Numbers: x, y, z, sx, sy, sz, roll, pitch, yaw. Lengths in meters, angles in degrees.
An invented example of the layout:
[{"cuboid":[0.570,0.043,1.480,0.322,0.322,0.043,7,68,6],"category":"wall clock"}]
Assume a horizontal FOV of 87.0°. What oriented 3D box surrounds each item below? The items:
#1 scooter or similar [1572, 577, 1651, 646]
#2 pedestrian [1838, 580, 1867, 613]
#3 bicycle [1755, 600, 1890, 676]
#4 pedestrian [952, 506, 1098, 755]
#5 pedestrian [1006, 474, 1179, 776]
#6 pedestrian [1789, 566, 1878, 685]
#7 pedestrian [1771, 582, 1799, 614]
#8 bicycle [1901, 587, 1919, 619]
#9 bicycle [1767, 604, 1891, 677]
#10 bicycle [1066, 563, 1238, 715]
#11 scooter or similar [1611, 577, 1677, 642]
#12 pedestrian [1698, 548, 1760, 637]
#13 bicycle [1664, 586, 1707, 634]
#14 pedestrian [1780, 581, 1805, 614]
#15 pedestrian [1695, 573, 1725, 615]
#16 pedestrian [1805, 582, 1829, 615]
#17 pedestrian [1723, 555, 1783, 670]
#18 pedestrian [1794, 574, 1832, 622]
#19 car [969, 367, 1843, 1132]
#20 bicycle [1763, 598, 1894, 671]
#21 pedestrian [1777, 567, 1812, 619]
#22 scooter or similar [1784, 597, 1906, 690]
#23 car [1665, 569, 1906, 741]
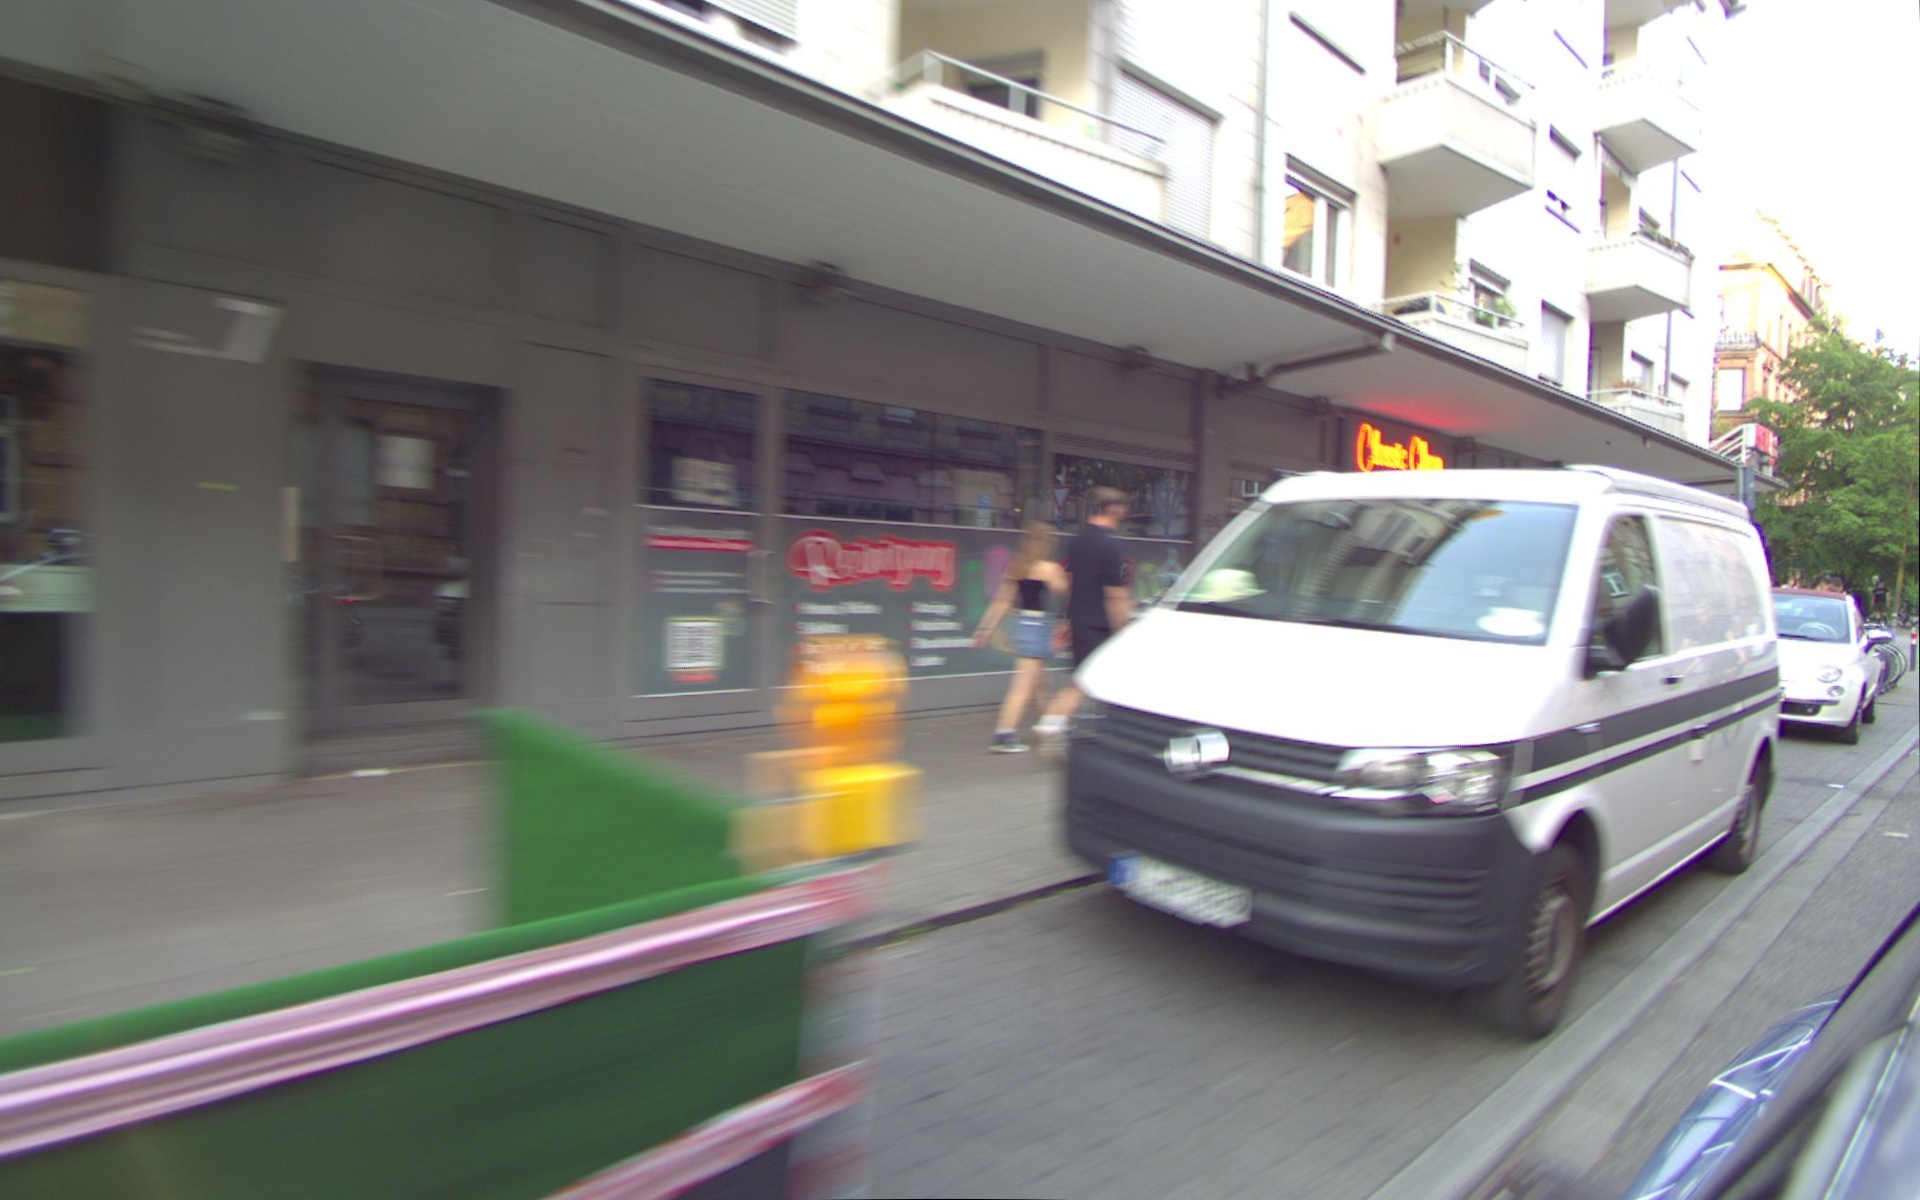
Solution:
[{"cuboid":[11.926,0.208,18.540,1.139,1.218,0.538,1,1,-15],"category":"scooter or similar"},{"cuboid":[36.814,-0.149,41.755,0.715,1.321,0.744,3,2,29],"category":"pedestrian"},{"cuboid":[13.542,0.568,15.925,0.501,1.014,1.485,-1,5,-34],"category":"bicycle"},{"cuboid":[0.466,0.180,7.348,0.732,1.685,0.710,-2,5,-42],"category":"pedestrian"},{"cuboid":[0.882,0.123,6.742,0.846,1.850,0.710,-2,5,-42],"category":"pedestrian"},{"cuboid":[12.379,0.343,14.357,0.637,1.619,0.591,3,3,8],"category":"pedestrian"},{"cuboid":[33.316,-0.089,40.864,0.667,1.288,0.636,1,2,21],"category":"pedestrian"},{"cuboid":[37.517,0.154,39.270,0.658,1.179,2.102,4,4,20],"category":"bicycle"},{"cuboid":[13.893,0.624,16.203,0.502,0.995,1.419,-2,5,-44],"category":"bicycle"},{"cuboid":[1.813,0.296,9.397,0.907,1.210,1.690,5,5,35],"category":"bicycle"},{"cuboid":[13.647,0.173,20.183,1.593,1.233,0.480,-1,4,-34],"category":"scooter or similar"},{"cuboid":[17.464,-0.183,22.986,1.169,1.934,0.763,0,4,-41],"category":"pedestrian"},{"cuboid":[16.566,0.208,23.097,1.753,1.037,0.457,-2,3,-43],"category":"bicycle"},{"cuboid":[33.857,-0.111,41.175,0.670,1.288,0.633,1,2,33],"category":"pedestrian"},{"cuboid":[30.000,-0.250,40.497,0.628,1.657,0.676,0,2,-5],"category":"pedestrian"},{"cuboid":[34.161,-0.063,40.358,0.636,1.288,0.667,1,2,34],"category":"pedestrian"},{"cuboid":[11.883,0.179,15.157,0.560,1.651,0.716,5,3,42],"category":"pedestrian"},{"cuboid":[30.002,-0.069,35.590,0.850,1.627,0.540,2,2,-15],"category":"pedestrian"},{"cuboid":[2.562,0.325,4.991,4.915,1.997,1.963,0,4,-41],"category":"car"},{"cuboid":[14.300,0.545,16.700,0.502,1.013,1.549,-2,5,-44],"category":"bicycle"},{"cuboid":[30.948,-0.277,37.547,0.892,1.891,0.676,-1,2,-27],"category":"pedestrian"},{"cuboid":[12.302,0.592,14.083,1.141,1.185,0.537,3,1,-2],"category":"scooter or similar"},{"cuboid":[9.198,0.480,11.195,3.367,1.519,1.595,-1,5,-44],"category":"car"}]
